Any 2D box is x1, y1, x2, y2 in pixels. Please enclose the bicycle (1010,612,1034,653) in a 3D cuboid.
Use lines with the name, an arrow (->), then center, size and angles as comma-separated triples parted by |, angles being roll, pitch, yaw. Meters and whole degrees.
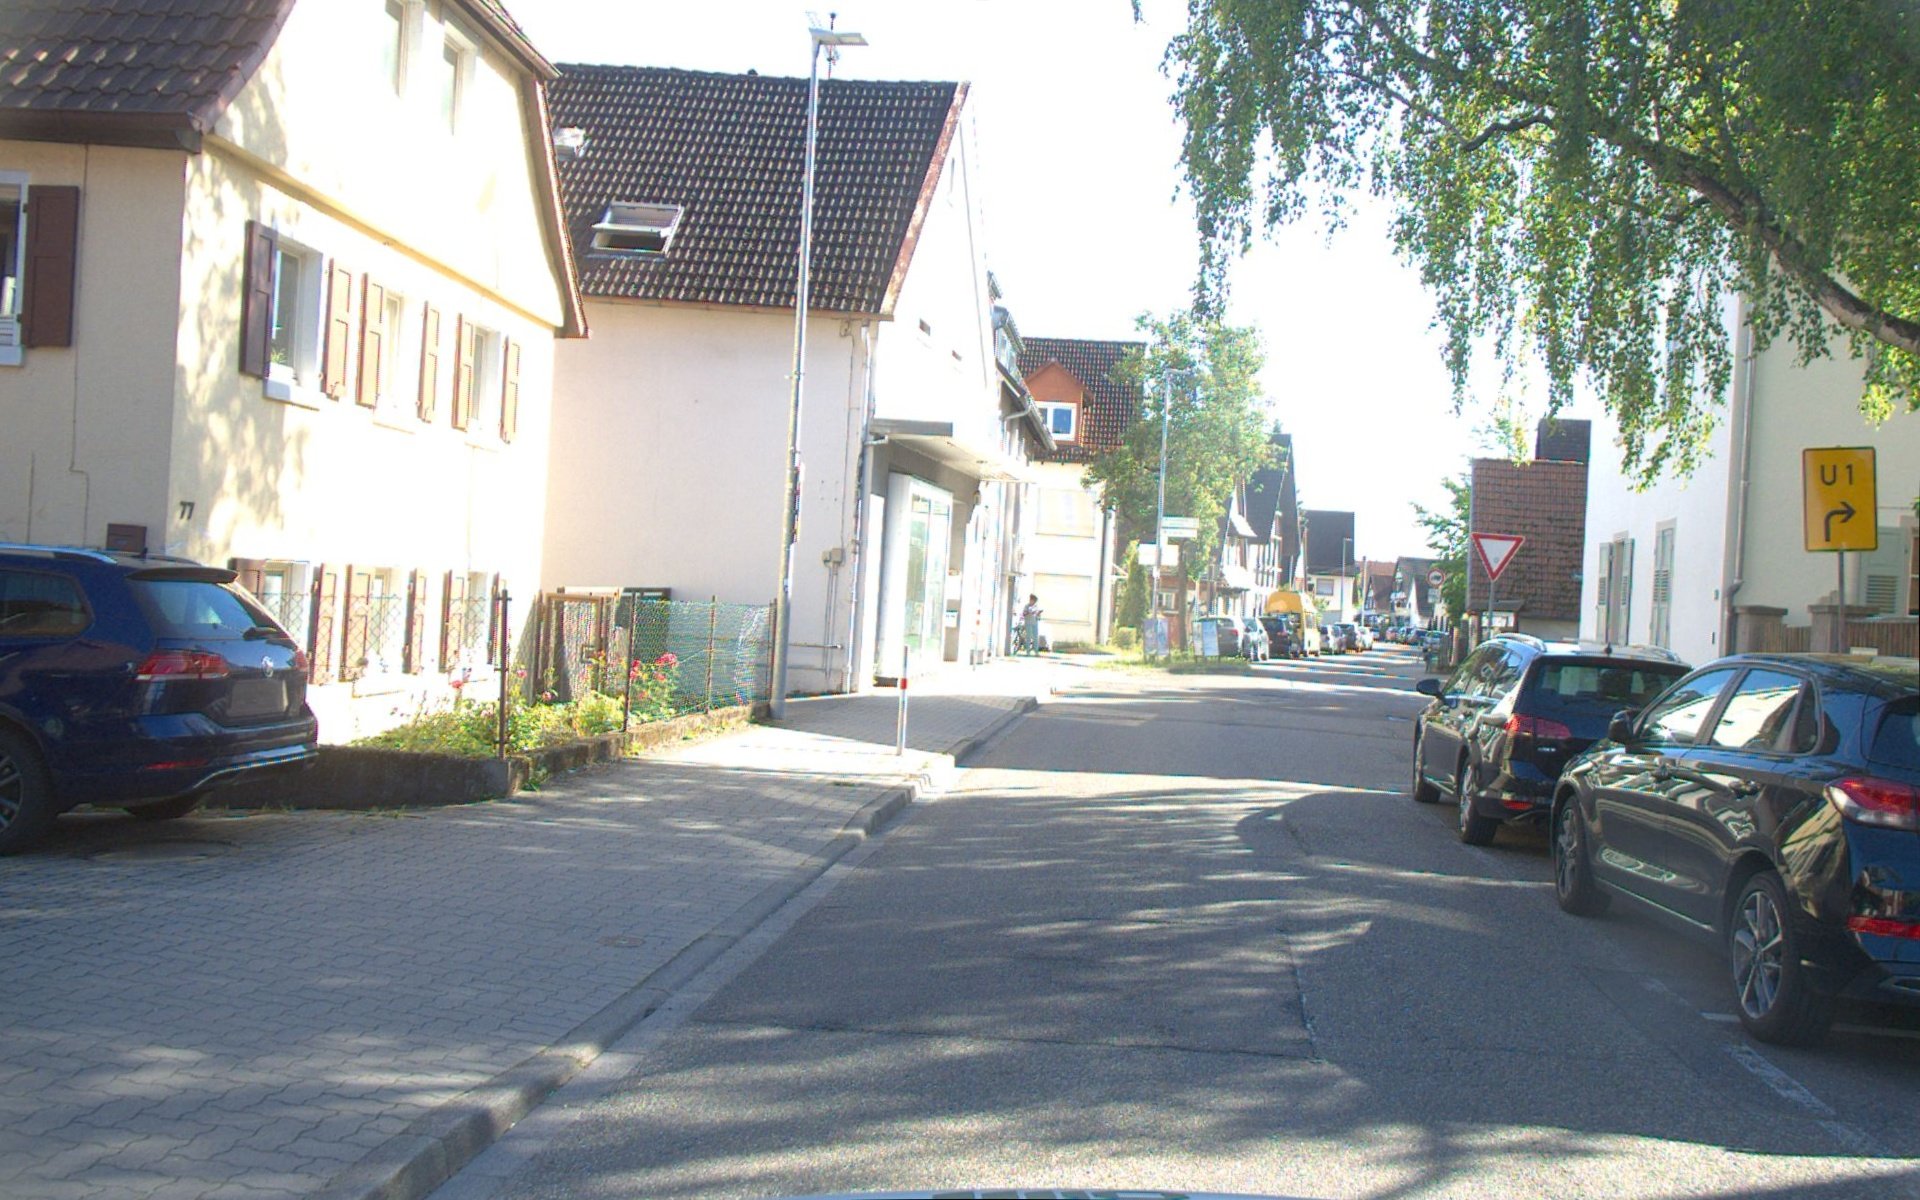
bicycle -> 1.663, 0.874, 44.296 | 0.414, 1.070, 1.382 | 3, -1, 10

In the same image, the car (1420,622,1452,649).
car -> 33.483, 2.464, 116.432 | 1.932, 1.743, 3.997 | 4, 0, 15

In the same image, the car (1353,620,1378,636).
car -> 45.172, 3.125, 184.232 | 1.932, 1.610, 3.996 | 4, 0, 4

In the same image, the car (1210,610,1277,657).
car -> 10.220, 1.202, 59.426 | 1.769, 1.532, 4.109 | 3, -1, 18

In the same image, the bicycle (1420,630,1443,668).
bicycle -> 15.727, 1.630, 55.165 | 0.425, 1.197, 1.827 | 3, 0, 25

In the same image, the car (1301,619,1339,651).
car -> 17.792, 1.735, 81.726 | 1.611, 1.457, 3.617 | 4, 0, 15

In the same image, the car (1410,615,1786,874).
car -> 4.609, 0.928, 12.618 | 1.769, 1.461, 4.289 | 3, 1, 9

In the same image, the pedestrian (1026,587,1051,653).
pedestrian -> 2.116, 0.547, 44.391 | 0.473, 1.722, 0.557 | 3, -2, 13

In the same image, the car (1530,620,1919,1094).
car -> 4.052, 0.913, 7.469 | 1.769, 1.461, 4.288 | 3, 1, 5

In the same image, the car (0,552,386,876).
car -> -5.395, 0.499, 8.689 | 4.071, 1.487, 1.849 | 1, 0, 3

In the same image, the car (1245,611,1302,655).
car -> 12.917, 1.361, 67.947 | 1.769, 1.650, 3.882 | 3, -1, 18

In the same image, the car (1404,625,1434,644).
car -> 43.830, 3.248, 157.941 | 1.932, 1.610, 3.996 | 4, 0, 4

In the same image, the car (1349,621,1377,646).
car -> 25.763, 2.117, 105.661 | 1.555, 1.468, 3.617 | 4, 0, 15

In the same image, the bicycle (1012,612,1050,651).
bicycle -> 2.057, 0.929, 47.695 | 0.566, 1.070, 2.037 | 3, -1, 16

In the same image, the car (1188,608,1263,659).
car -> 8.903, 1.120, 55.235 | 1.828, 1.532, 4.109 | 3, -1, 18

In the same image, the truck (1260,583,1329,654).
truck -> 14.869, 0.859, 73.250 | 2.221, 2.918, 5.784 | 3, -1, 18

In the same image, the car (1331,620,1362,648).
car -> 22.067, 1.942, 94.312 | 1.555, 1.468, 3.617 | 4, 0, 15
